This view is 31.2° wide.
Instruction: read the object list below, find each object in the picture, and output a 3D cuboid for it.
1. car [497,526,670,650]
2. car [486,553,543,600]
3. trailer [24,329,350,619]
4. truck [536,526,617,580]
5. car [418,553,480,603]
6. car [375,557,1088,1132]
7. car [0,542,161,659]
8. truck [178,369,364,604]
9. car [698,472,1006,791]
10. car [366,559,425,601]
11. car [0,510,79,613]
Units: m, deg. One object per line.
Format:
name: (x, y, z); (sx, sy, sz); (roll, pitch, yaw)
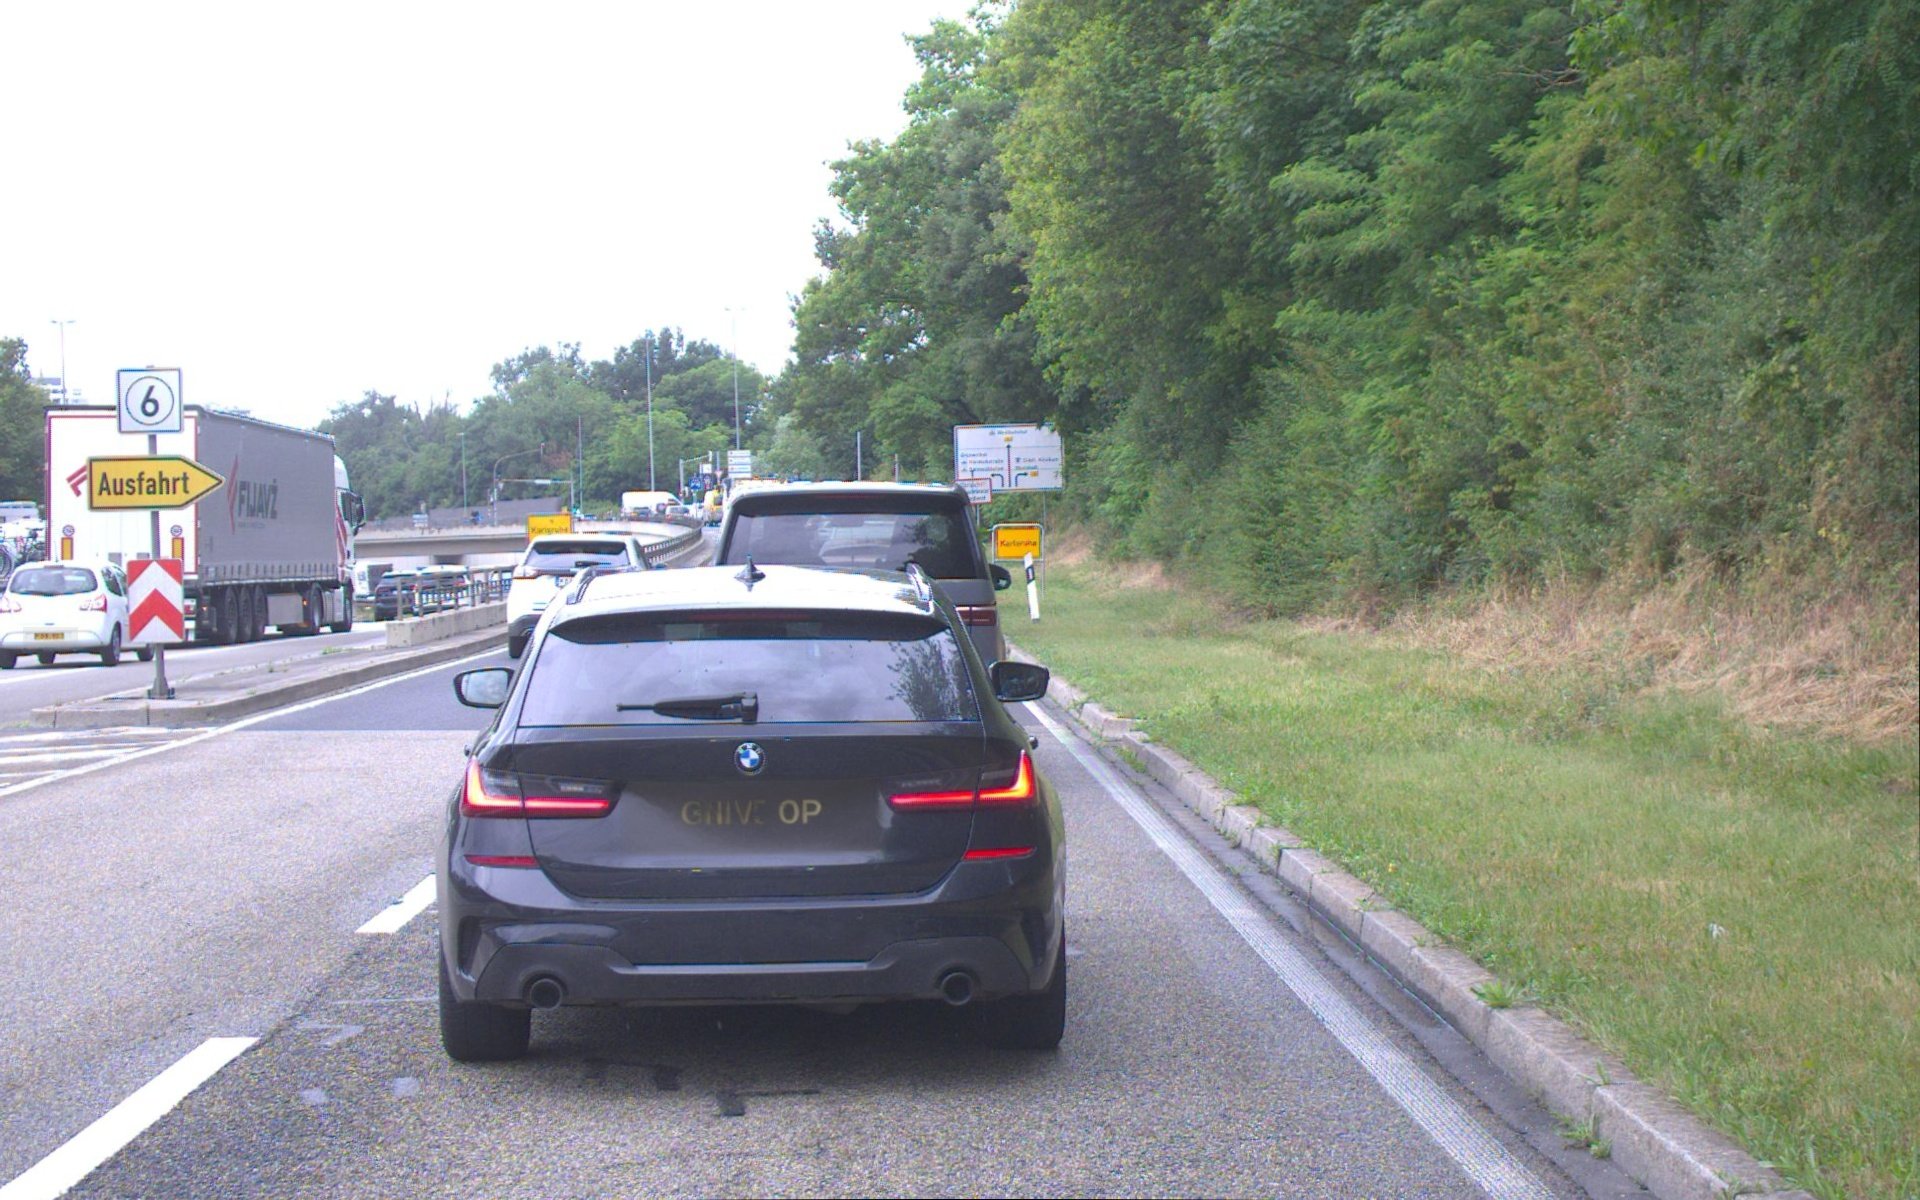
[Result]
car: (-5.104, -0.193, 47.086); (1.930, 1.590, 3.877); (-1, 1, 0)
car: (-14.603, -0.782, 112.798); (1.448, 1.485, 3.062); (-1, 1, -1)
trailer: (-13.891, -2.163, 63.362); (3.132, 4.709, 14.559); (0, 1, -2)
truck: (-18.704, -2.311, 168.009); (3.274, 2.500, 7.661); (-1, 1, -2)
car: (-15.168, -0.666, 102.121); (1.377, 1.393, 3.062); (-1, 1, -1)
car: (-0.698, 0.612, 10.993); (1.846, 1.461, 4.001); (-1, 1, -3)
car: (-12.407, -0.019, 48.064); (1.768, 1.544, 3.493); (-1, 1, -3)
truck: (-14.116, -2.297, 70.696); (3.083, 4.681, 4.232); (0, 1, -2)
car: (-0.680, 0.150, 22.264); (1.796, 1.865, 4.000); (-1, 1, -1)
car: (-20.108, -0.723, 122.556); (1.593, 1.427, 3.062); (-1, 1, -1)
car: (-19.175, -0.788, 70.140); (1.443, 2.037, 3.681); (-1, 1, -1)
